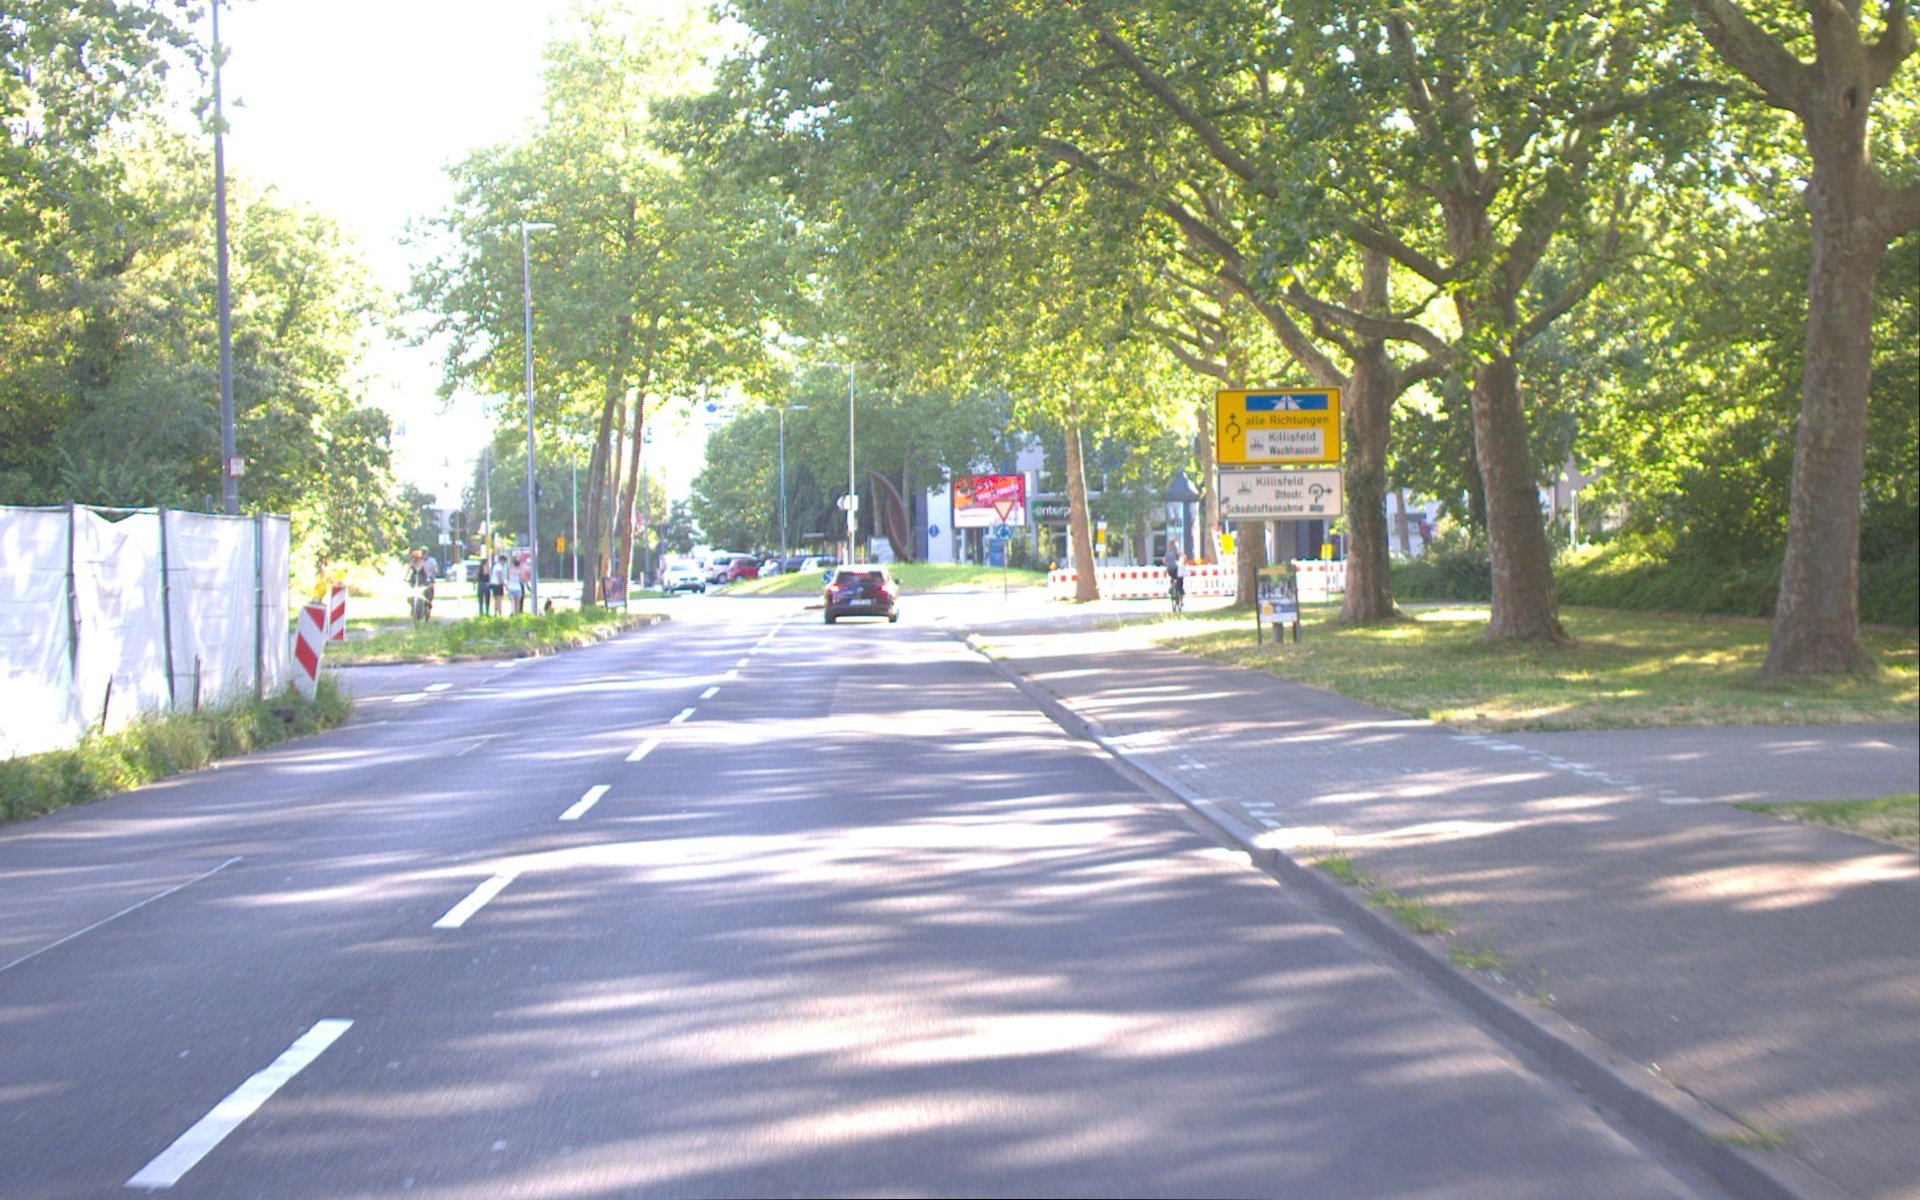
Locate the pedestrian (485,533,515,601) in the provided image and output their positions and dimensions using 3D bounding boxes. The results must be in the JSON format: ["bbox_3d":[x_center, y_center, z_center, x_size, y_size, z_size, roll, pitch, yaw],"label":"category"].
[{"bbox_3d":[-11.997,-0.857,89.675,0.632,1.733,0.664,-2,1,0],"label":"pedestrian"}]

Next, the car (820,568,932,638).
[{"bbox_3d":[-2.056,0.057,85.210,1.840,1.600,3.860,-1,1,13],"label":"car"}]

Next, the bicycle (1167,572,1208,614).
[{"bbox_3d":[5.685,-0.183,86.071,0.770,0.960,2.174,-4,1,-2],"label":"bicycle"}]

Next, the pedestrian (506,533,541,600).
[{"bbox_3d":[-11.481,-0.885,90.419,0.748,1.733,0.852,-2,1,0],"label":"pedestrian"}]

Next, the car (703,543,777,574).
[{"bbox_3d":[-13.013,-2.458,203.544,3.987,1.741,1.795,-2,2,-31],"label":"car"}]

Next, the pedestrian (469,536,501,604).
[{"bbox_3d":[-12.492,-0.792,90.386,0.665,1.733,0.751,-2,1,0],"label":"pedestrian"}]

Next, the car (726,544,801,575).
[{"bbox_3d":[-11.497,-2.367,200.893,3.987,1.741,1.795,-2,2,-31],"label":"car"}]

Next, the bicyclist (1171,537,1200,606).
[{"bbox_3d":[5.647,-0.711,86.156,0.651,1.699,0.871,-1,2,-1],"label":"bicyclist"}]

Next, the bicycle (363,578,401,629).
[{"bbox_3d":[-14.728,0.076,87.619,0.579,1.182,2.033,-7,2,-2],"label":"bicycle"}]

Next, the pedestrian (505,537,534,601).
[{"bbox_3d":[-11.412,-0.801,89.019,0.632,1.632,0.576,-2,1,-1],"label":"pedestrian"}]

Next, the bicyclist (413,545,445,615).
[{"bbox_3d":[-13.217,-0.495,85.563,0.579,1.673,0.971,-3,2,-2],"label":"bicyclist"}]

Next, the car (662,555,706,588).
[{"bbox_3d":[-14.167,-1.475,176.322,1.993,1.573,4.001,-2,2,-7],"label":"car"}]

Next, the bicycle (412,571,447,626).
[{"bbox_3d":[-13.197,-0.045,85.554,0.579,1.241,2.108,-3,3,-2],"label":"bicycle"}]
